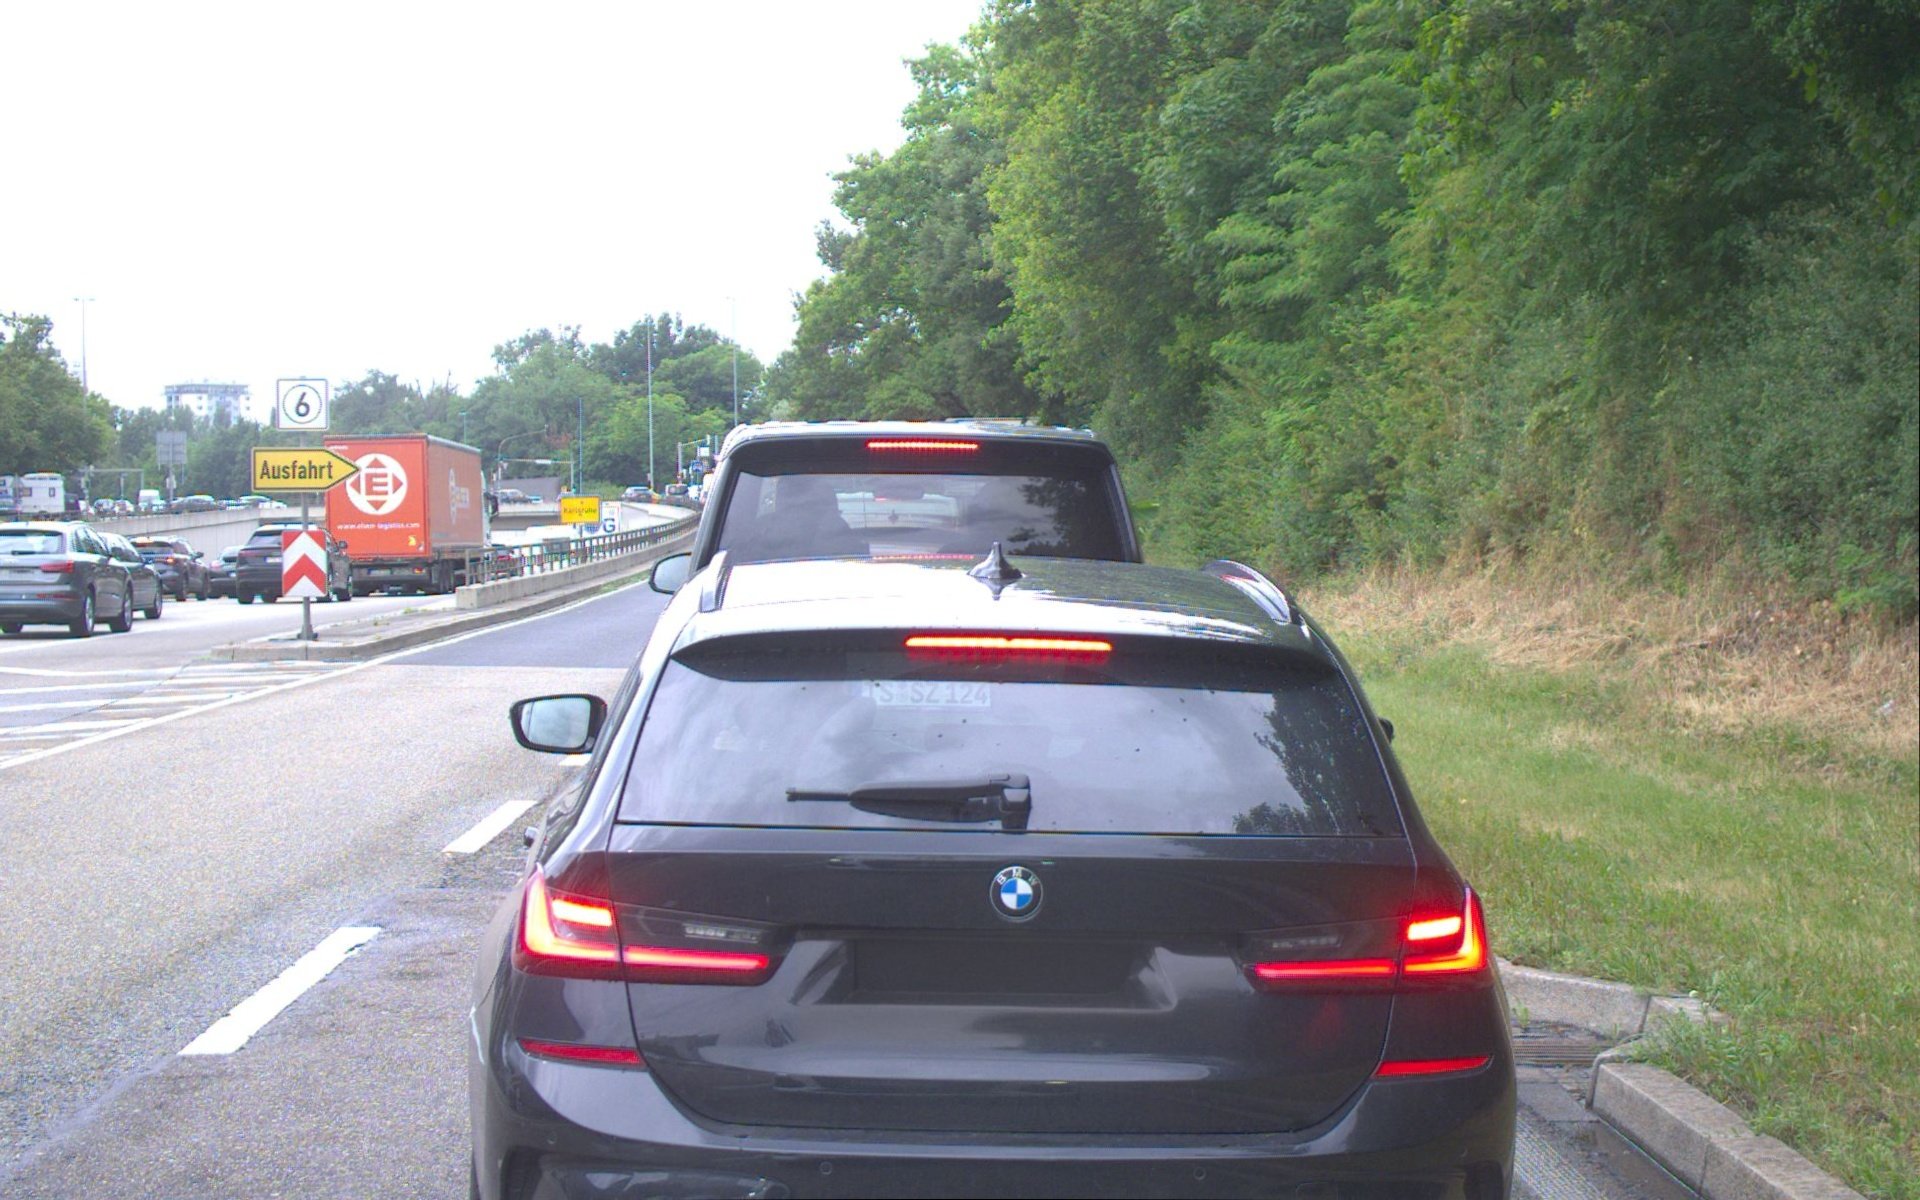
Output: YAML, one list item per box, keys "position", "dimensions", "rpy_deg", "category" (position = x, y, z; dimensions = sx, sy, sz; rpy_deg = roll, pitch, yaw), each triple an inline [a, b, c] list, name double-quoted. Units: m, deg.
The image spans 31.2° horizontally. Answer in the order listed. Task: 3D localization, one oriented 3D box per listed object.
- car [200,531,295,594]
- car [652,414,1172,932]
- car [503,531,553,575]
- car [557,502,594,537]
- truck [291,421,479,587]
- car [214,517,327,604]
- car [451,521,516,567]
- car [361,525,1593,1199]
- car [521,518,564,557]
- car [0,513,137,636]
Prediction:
- position: [-19.006, -1.014, 91.858]
  dimensions: [1.859, 1.612, 4.000]
  rpy_deg: [1, 1, -3]
  category: "car"
- position: [-0.208, 0.239, 14.228]
  dimensions: [1.822, 1.815, 4.000]
  rpy_deg: [1, 1, -1]
  category: "car"
- position: [-15.479, -1.689, 123.348]
  dimensions: [1.556, 1.547, 3.819]
  rpy_deg: [1, 1, -4]
  category: "car"
- position: [-17.861, -3.748, 159.793]
  dimensions: [1.556, 1.547, 4.001]
  rpy_deg: [1, 1, -4]
  category: "car"
- position: [-15.068, -2.537, 91.252]
  dimensions: [3.489, 4.059, 13.594]
  rpy_deg: [-1, 2, -4]
  category: "truck"
- position: [-14.944, -0.852, 74.699]
  dimensions: [1.860, 1.809, 4.001]
  rpy_deg: [1, 1, -4]
  category: "car"
- position: [-15.517, -1.847, 112.017]
  dimensions: [1.777, 1.477, 4.001]
  rpy_deg: [0, 1, -3]
  category: "car"
- position: [-0.057, 0.604, 7.120]
  dimensions: [1.825, 1.477, 4.001]
  rpy_deg: [-1, 1, -3]
  category: "car"
- position: [-16.756, -2.525, 138.087]
  dimensions: [1.556, 1.546, 4.001]
  rpy_deg: [0, 1, -4]
  category: "car"
- position: [-12.649, -0.386, 47.506]
  dimensions: [1.792, 1.634, 4.001]
  rpy_deg: [0, 1, -3]
  category: "car"
